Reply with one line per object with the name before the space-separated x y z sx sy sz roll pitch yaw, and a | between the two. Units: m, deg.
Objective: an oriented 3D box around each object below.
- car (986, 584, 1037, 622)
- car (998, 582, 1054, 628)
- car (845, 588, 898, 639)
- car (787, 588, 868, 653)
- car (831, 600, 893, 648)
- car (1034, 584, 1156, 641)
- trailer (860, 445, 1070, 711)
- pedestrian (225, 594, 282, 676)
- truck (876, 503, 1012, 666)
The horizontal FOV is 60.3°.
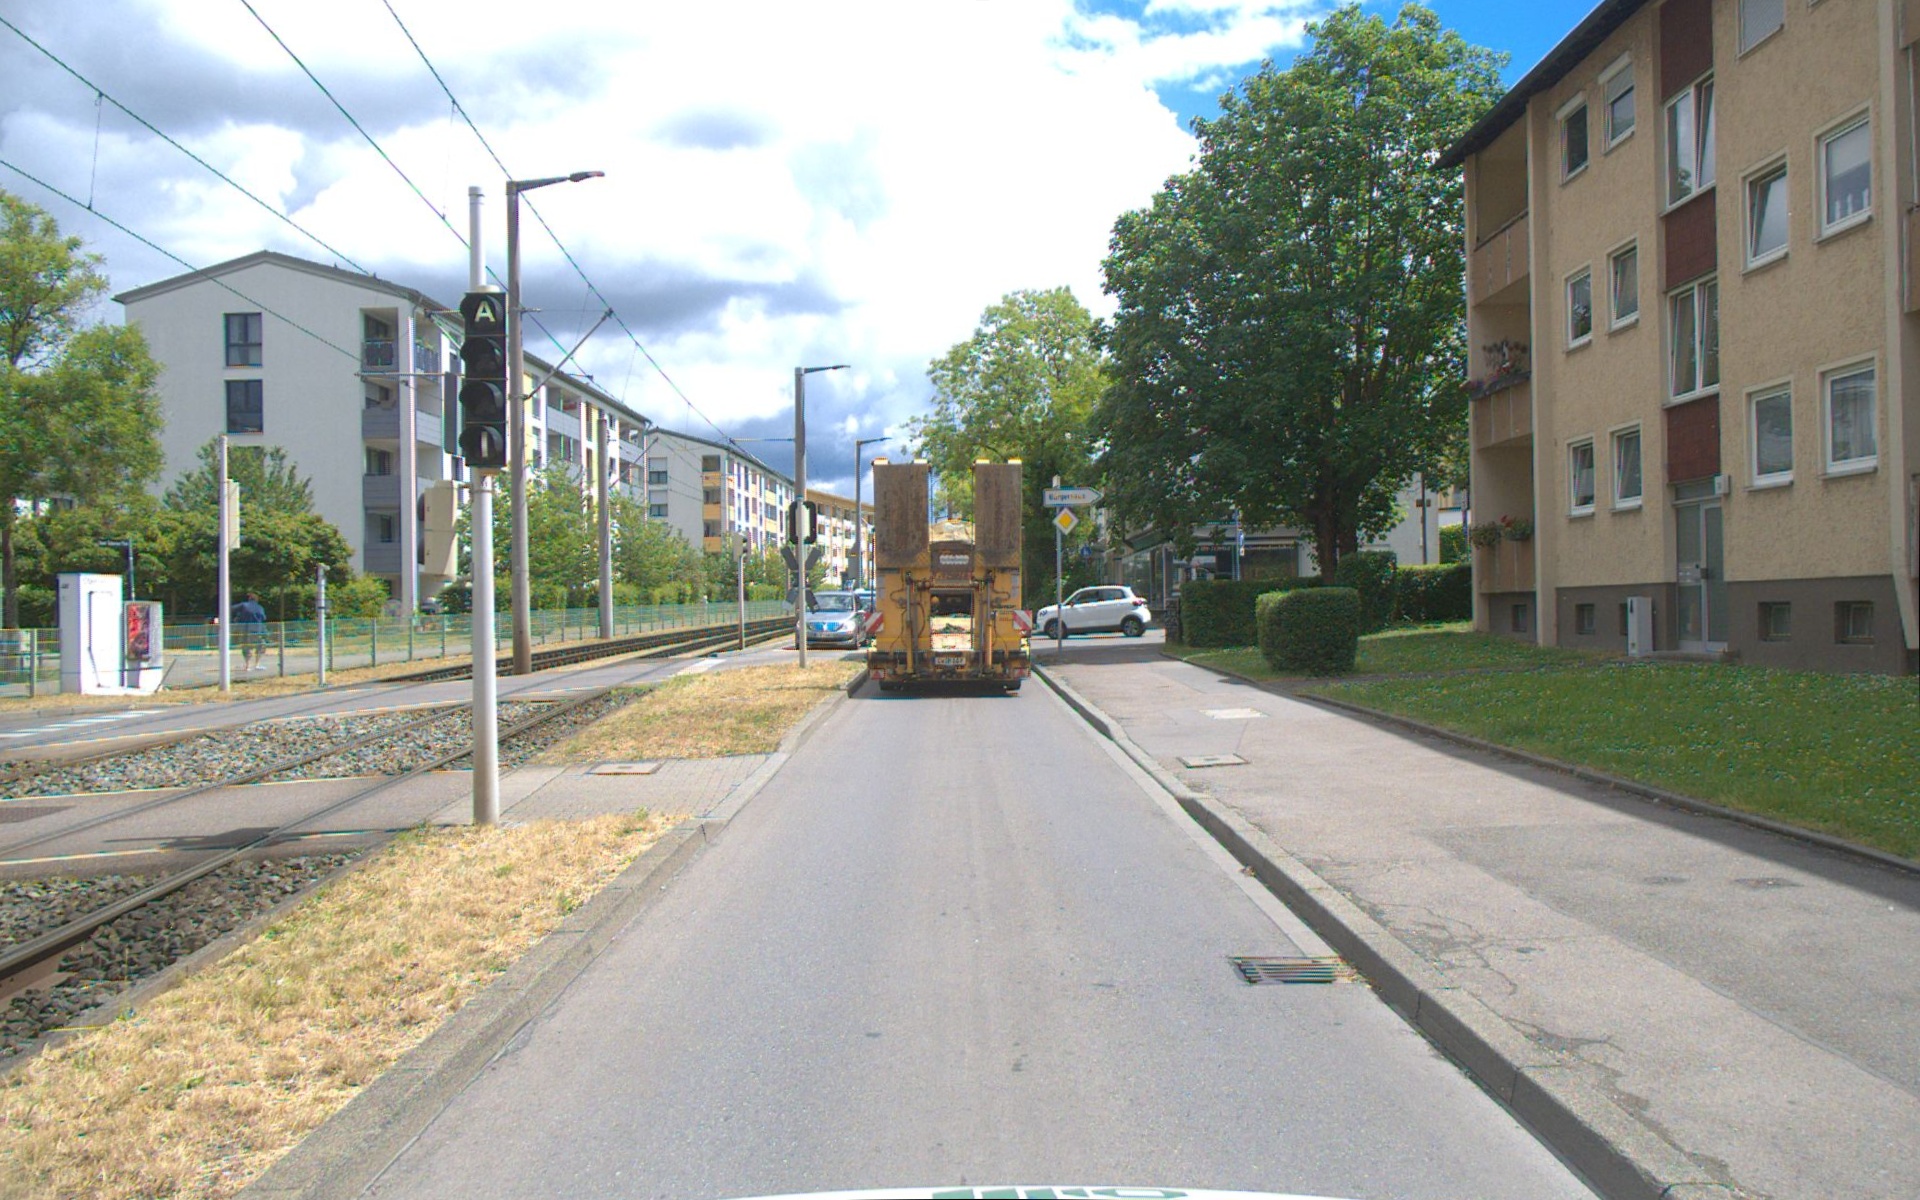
car | 2.161 0.106 70.546 1.953 1.411 4.000 -2 1 -1
car | 2.585 0.156 65.611 1.953 1.646 4.000 -2 1 -1
car | -3.269 0.506 61.495 1.568 1.762 3.939 -2 0 2
car | -3.714 0.567 46.947 1.765 1.681 4.132 -2 0 2
car | -3.085 0.741 52.723 1.568 1.405 3.957 -2 0 2
car | 4.236 0.380 51.472 3.521 1.612 2.002 -2 0 11
trailer | -0.215 -0.446 30.391 2.990 3.838 11.606 -2 1 -3
pedestrian | -15.144 0.748 35.480 0.734 1.690 0.870 -2 1 3
truck | -0.547 -0.409 39.526 2.777 3.388 7.980 -2 1 -3
